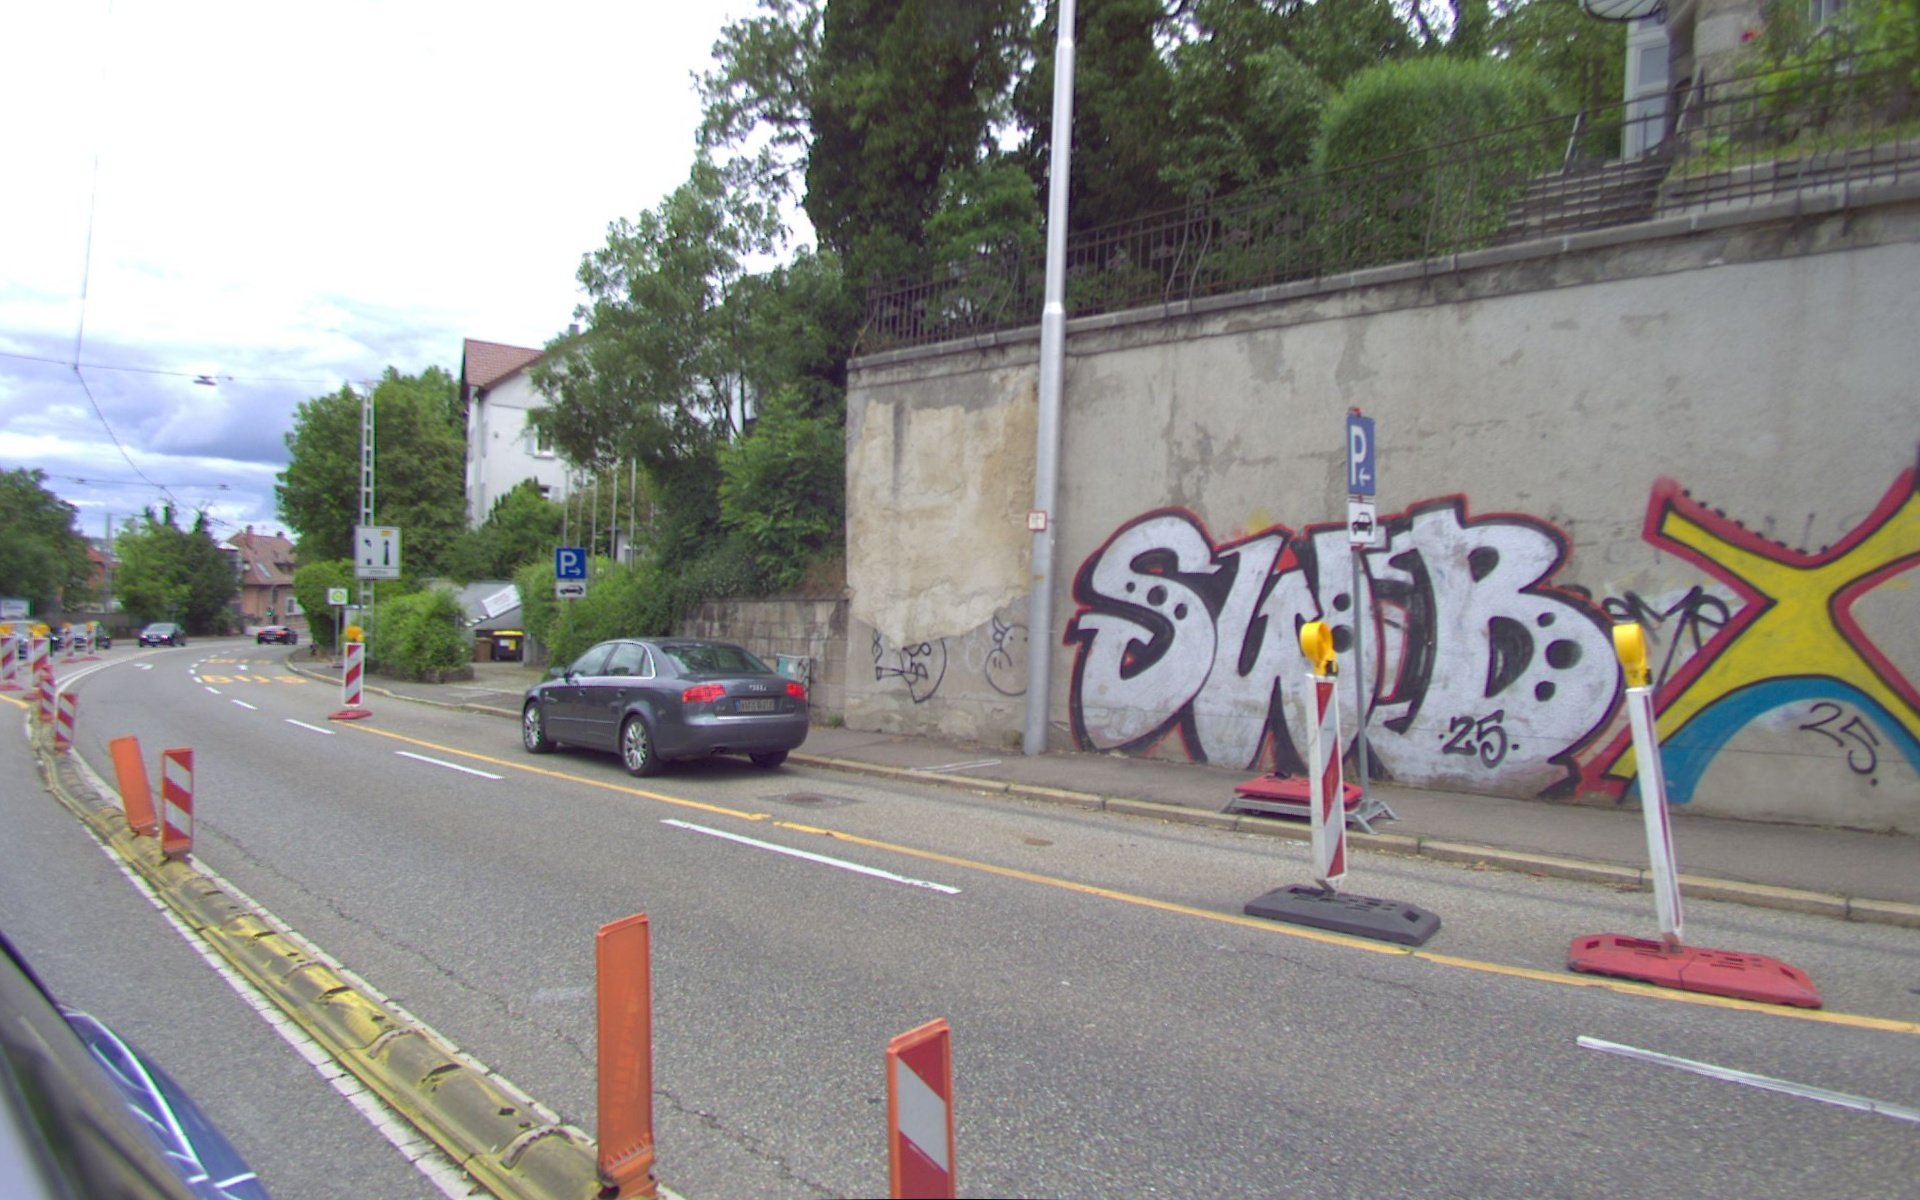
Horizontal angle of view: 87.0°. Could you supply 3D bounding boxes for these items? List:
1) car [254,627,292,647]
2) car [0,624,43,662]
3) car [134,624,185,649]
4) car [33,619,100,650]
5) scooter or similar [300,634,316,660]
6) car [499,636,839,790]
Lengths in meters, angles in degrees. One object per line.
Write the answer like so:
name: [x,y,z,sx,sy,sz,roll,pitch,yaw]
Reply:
car: [-51.816,2.769,76.407,1.795,1.402,4.452,3,-3,-27]
car: [-40.982,1.824,43.431,1.770,1.522,4.010,3,-3,-34]
car: [-49.264,2.247,62.346,1.762,1.492,4.258,0,-2,-29]
car: [-45.772,1.738,51.921,1.769,1.522,4.012,1,-1,-30]
scooter or similar: [-31.727,2.280,49.253,0.423,1.218,1.283,-1,0,-44]
car: [-3.451,1.136,11.492,4.390,1.383,1.778,-2,-4,45]
